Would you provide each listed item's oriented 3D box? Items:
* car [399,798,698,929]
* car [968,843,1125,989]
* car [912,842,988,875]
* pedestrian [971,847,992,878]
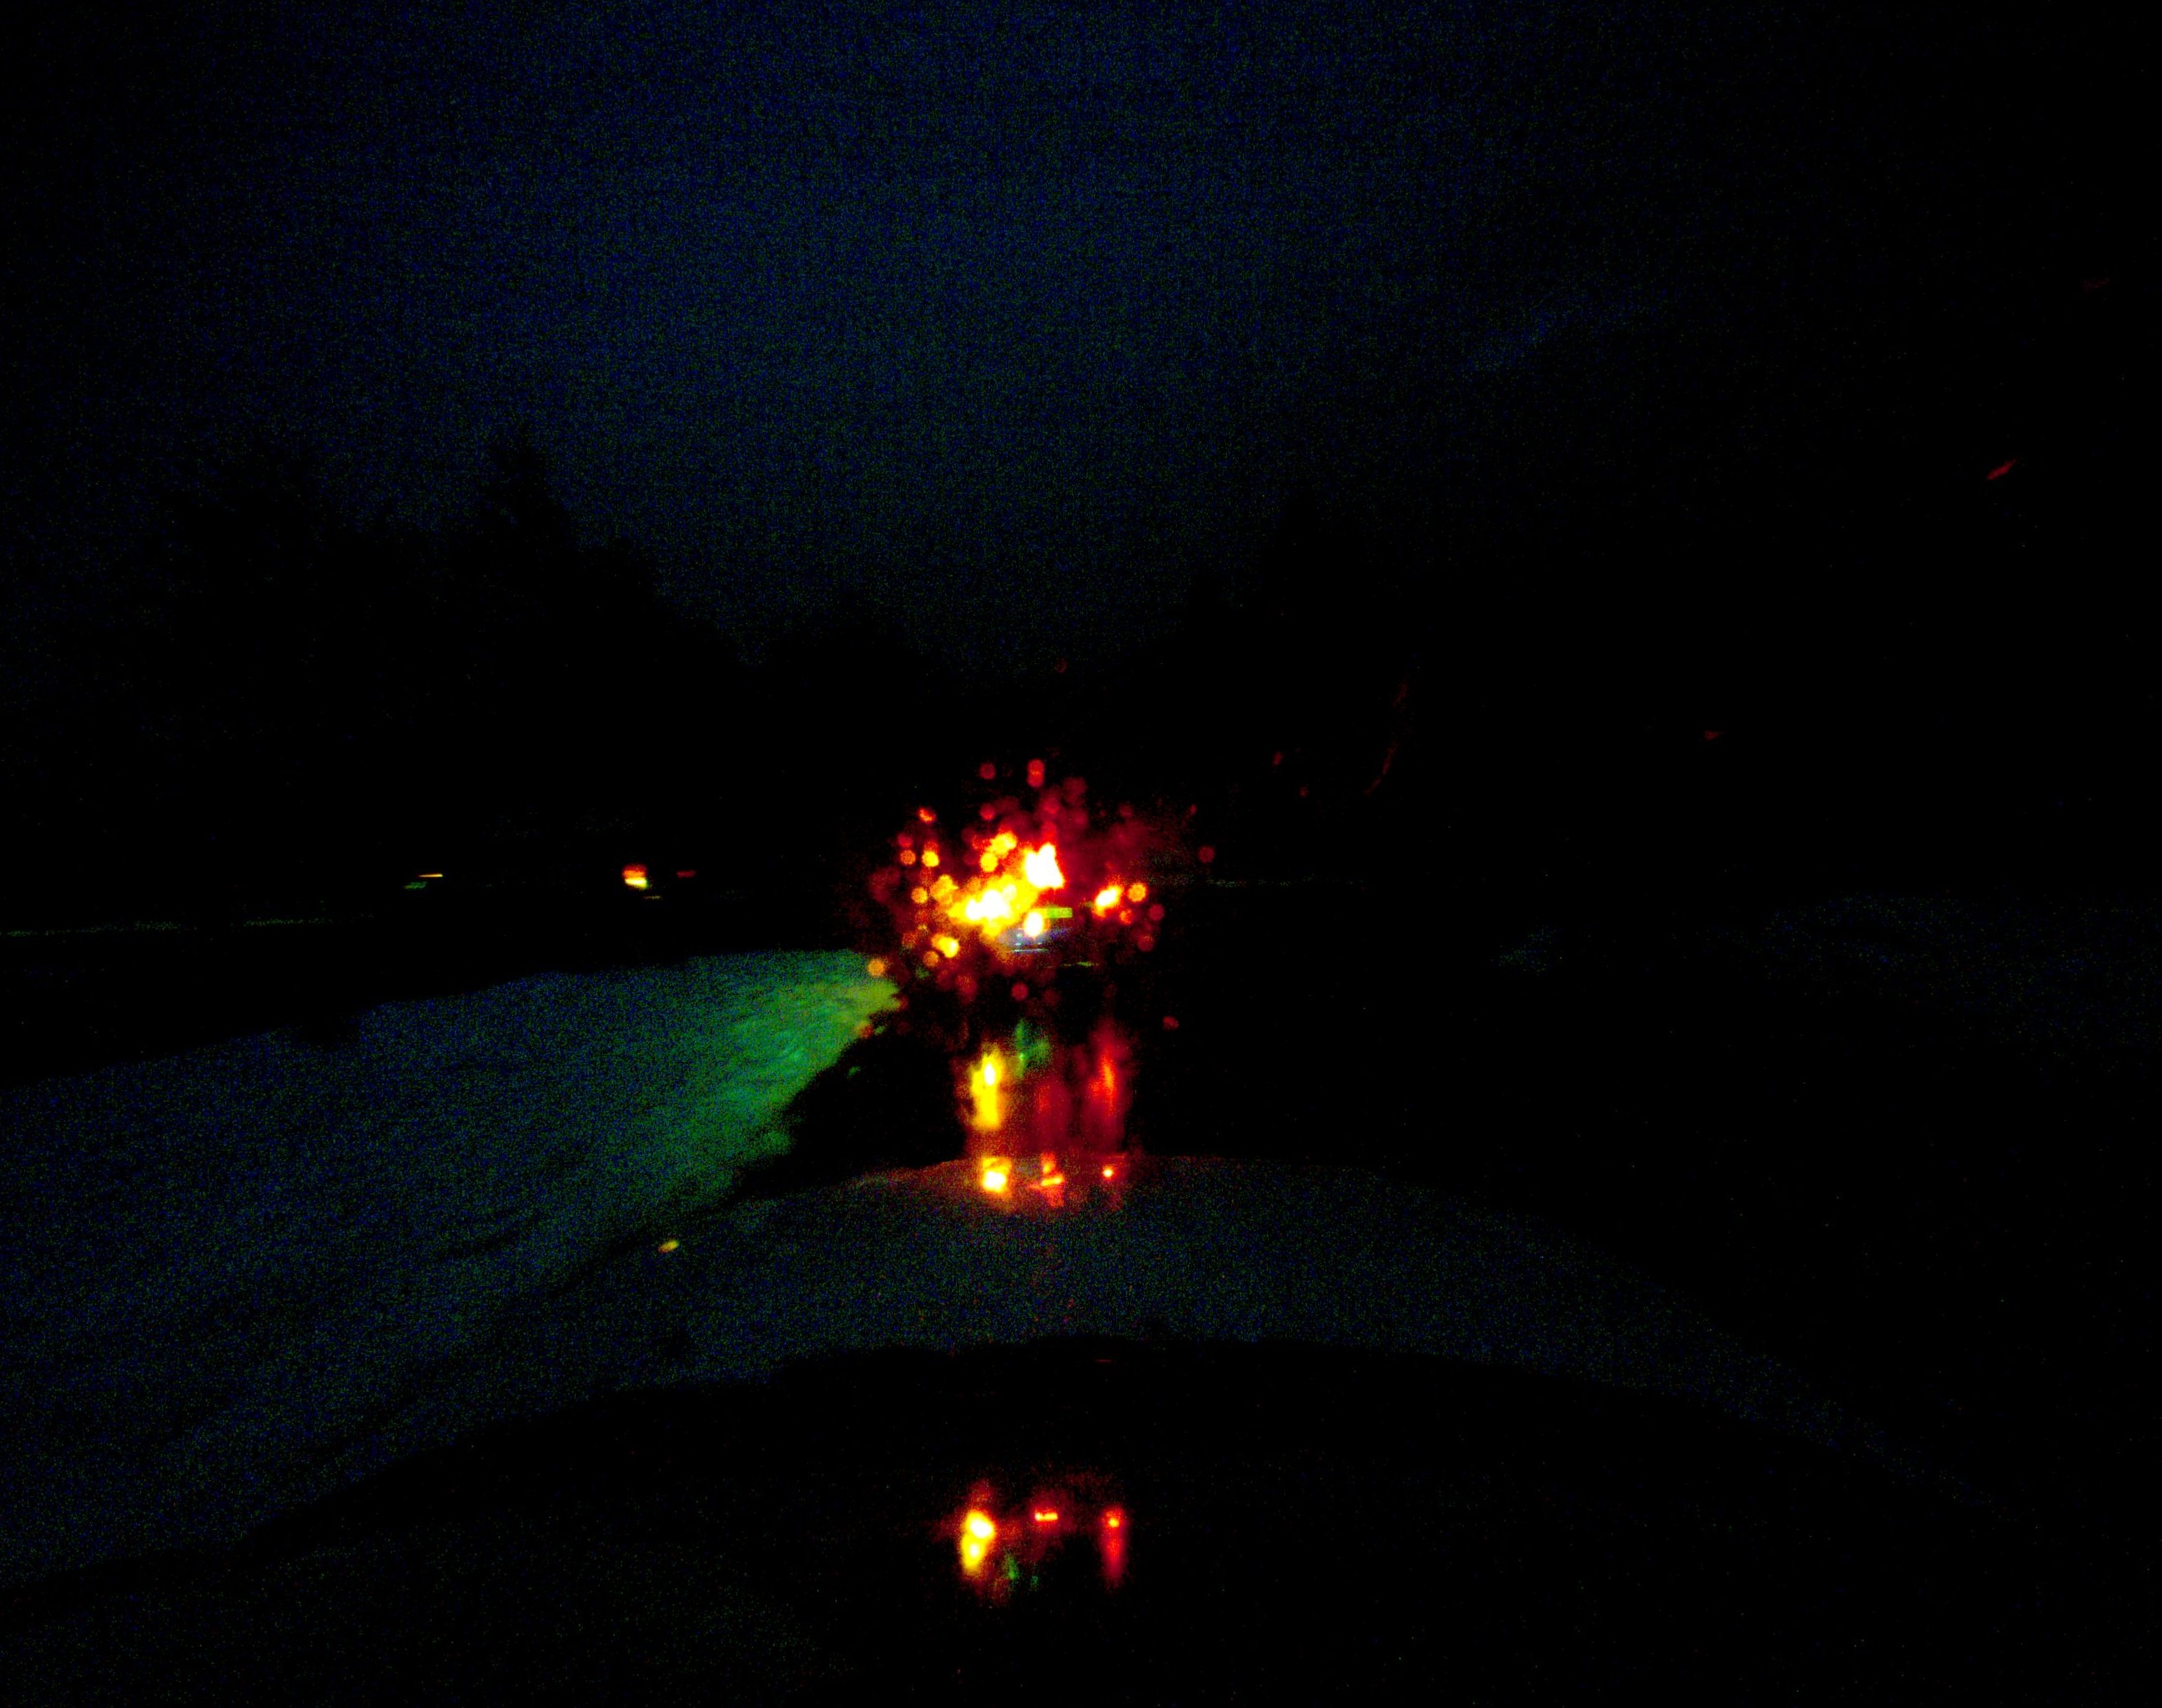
[{"bbox_3d":[-11.813,0.225,18.270,5.480,2.696,2.158,0,-1,7],"label":"car"},{"bbox_3d":[-0.560,0.651,10.722,1.690,1.552,3.848,-1,0,-6],"label":"car"},{"bbox_3d":[-7.728,0.252,48.245,3.923,1.881,2.005,-1,-1,9],"label":"car"},{"bbox_3d":[-5.789,0.496,47.473,0.953,1.828,0.928,-1,-1,14],"label":"pedestrian"}]
